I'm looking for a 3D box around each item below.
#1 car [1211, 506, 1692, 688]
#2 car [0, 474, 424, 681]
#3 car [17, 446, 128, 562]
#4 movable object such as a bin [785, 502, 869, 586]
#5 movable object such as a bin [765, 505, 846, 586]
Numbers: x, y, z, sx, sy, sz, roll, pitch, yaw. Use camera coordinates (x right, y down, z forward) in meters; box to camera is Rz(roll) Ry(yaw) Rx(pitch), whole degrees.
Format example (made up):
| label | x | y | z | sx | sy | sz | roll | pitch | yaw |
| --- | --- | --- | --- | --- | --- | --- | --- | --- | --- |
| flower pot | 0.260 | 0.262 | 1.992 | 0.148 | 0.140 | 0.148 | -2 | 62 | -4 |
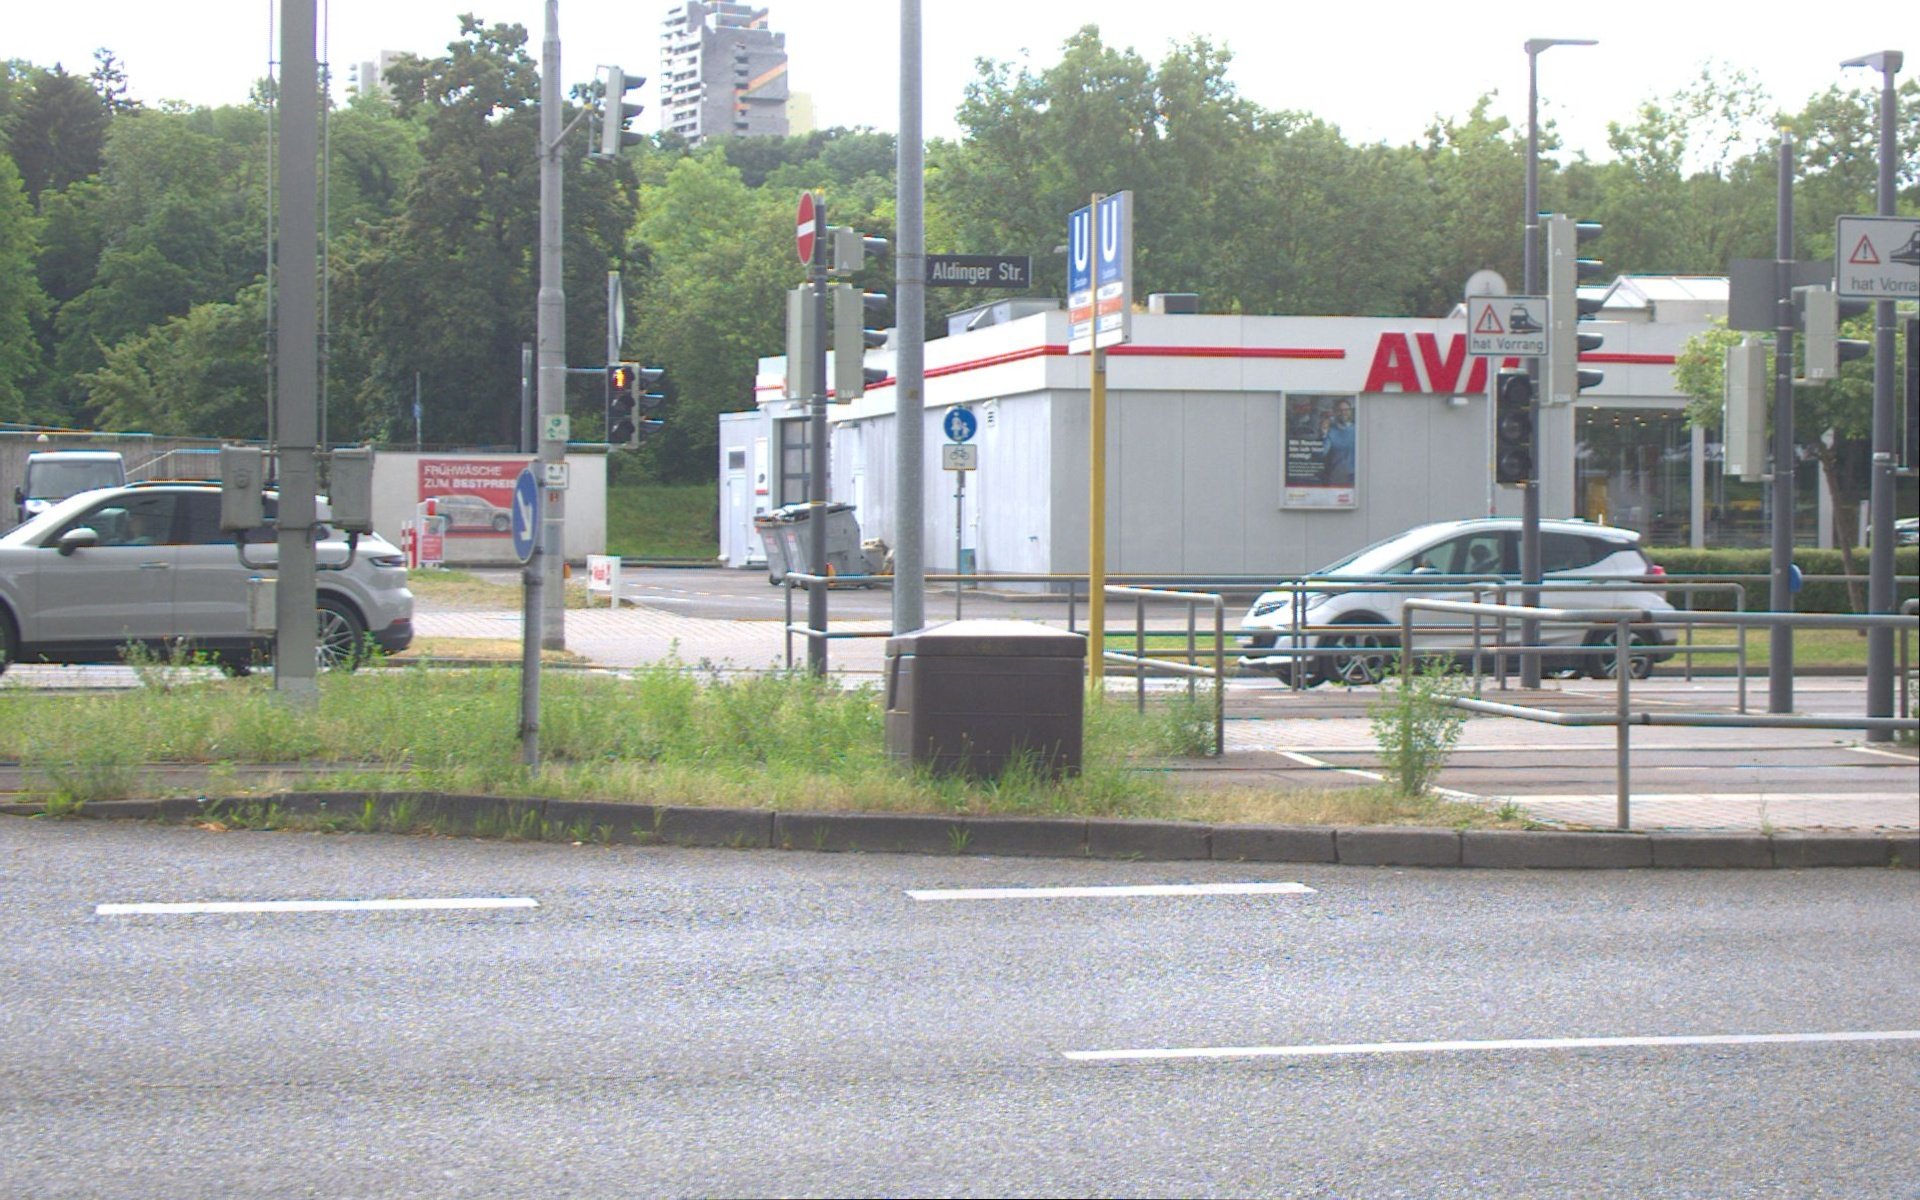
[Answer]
| label | x | y | z | sx | sy | sz | roll | pitch | yaw |
| --- | --- | --- | --- | --- | --- | --- | --- | --- | --- |
| car | 4.614 | -0.033 | 32.429 | 4.109 | 1.635 | 1.751 | 0 | 1 | -15 |
| car | -7.037 | -0.194 | 28.452 | 4.838 | 1.637 | 1.677 | 0 | 1 | -27 |
| car | -16.629 | -1.751 | 64.276 | 1.840 | 2.045 | 4.383 | 1 | 0 | -16 |
| movable object such as a bin | -2.417 | -1.008 | 62.246 | 1.368 | 1.489 | 1.105 | 1 | 0 | -10 |
| movable object such as a bin | -2.886 | -1.010 | 64.068 | 1.368 | 1.479 | 1.105 | 1 | 0 | -10 |
